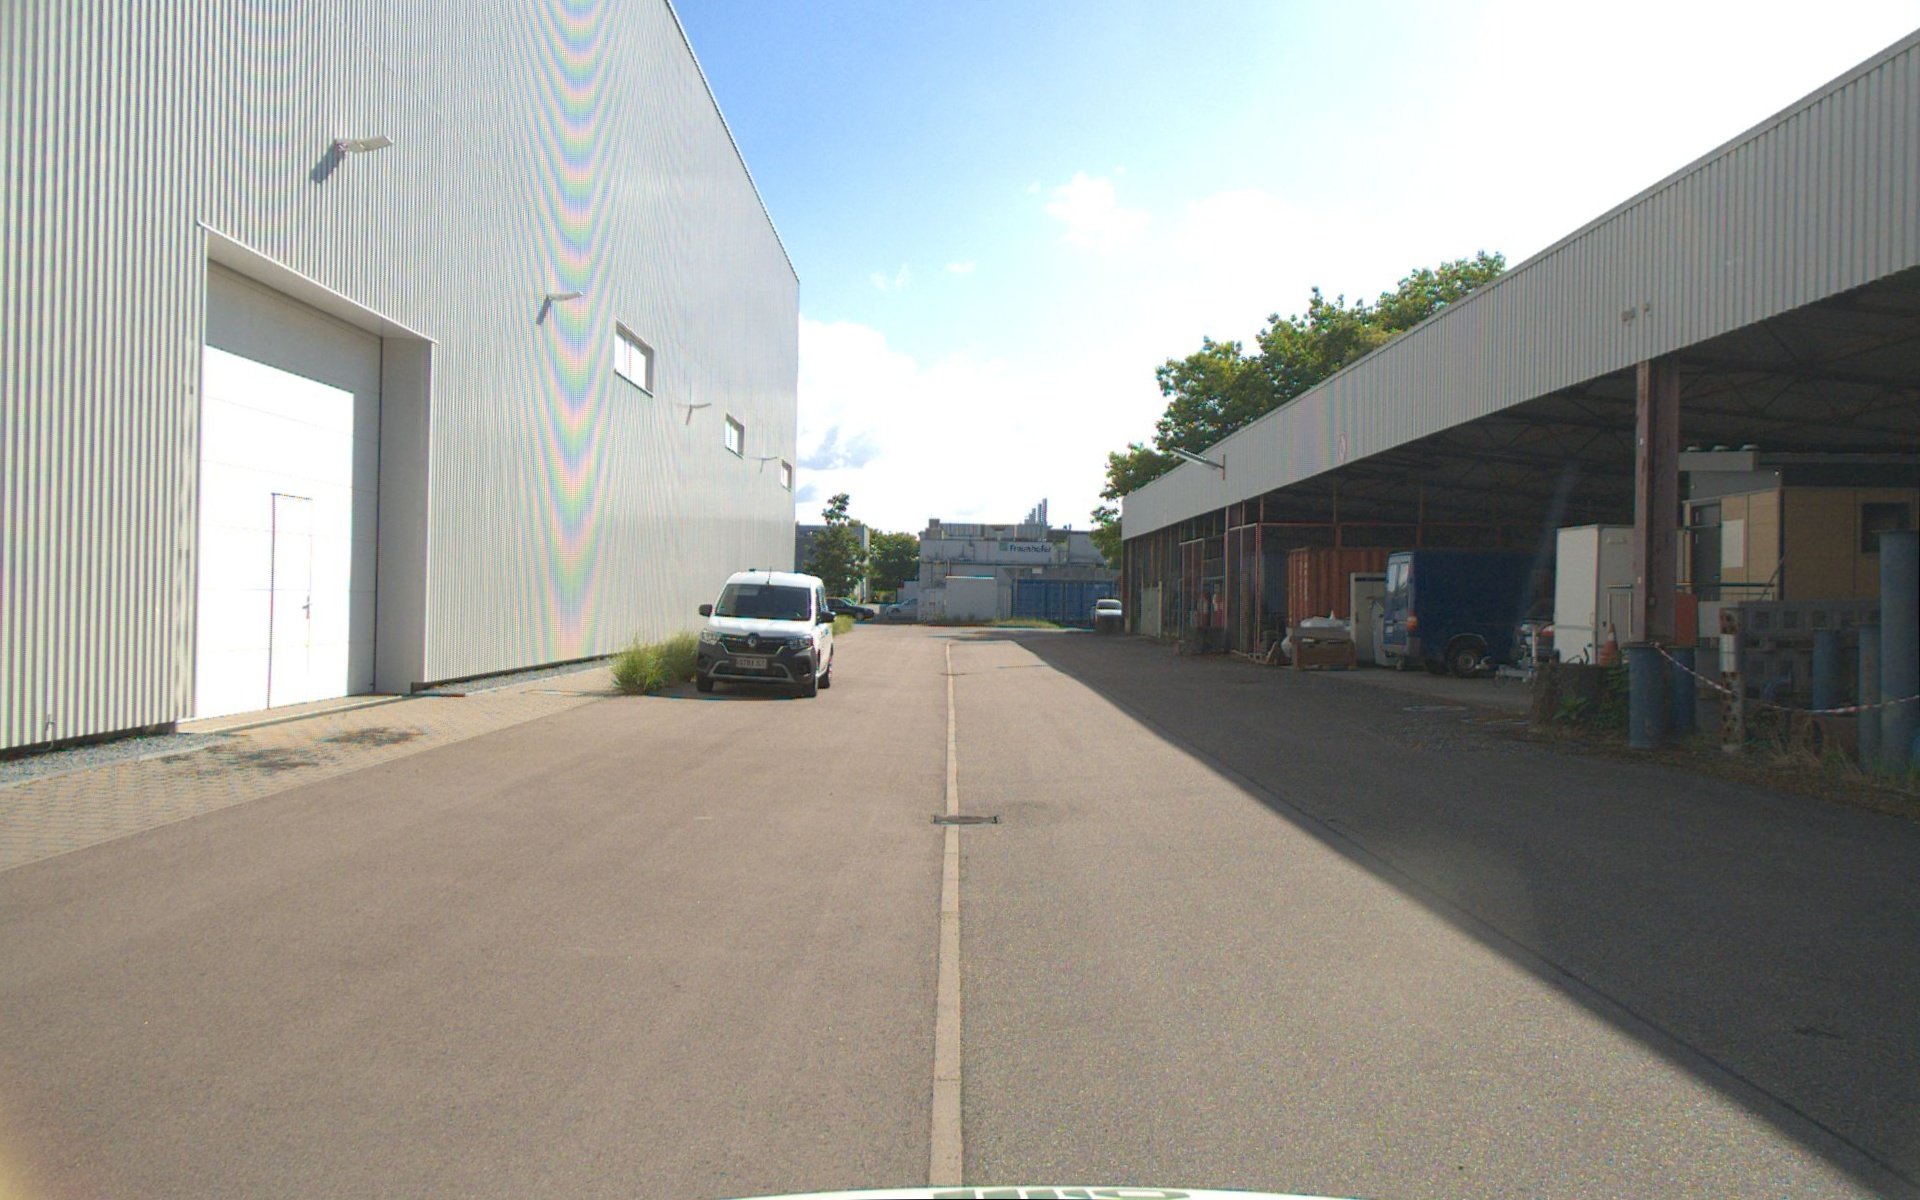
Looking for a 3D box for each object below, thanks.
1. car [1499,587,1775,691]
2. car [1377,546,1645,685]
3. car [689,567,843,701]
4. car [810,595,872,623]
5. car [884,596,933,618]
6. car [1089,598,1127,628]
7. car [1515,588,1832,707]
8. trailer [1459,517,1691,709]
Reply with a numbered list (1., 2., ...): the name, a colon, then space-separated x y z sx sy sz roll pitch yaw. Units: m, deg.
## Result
1. car: 11.363 0.662 27.913 3.955 1.551 1.684 2 -2 0
2. car: 10.257 0.308 30.999 4.342 2.350 1.915 2 -2 0
3. car: -2.887 0.465 25.526 1.781 1.818 4.405 2 0 0
4. car: -7.738 0.603 107.686 3.906 1.626 1.741 2 -2 -2
5. car: -4.202 0.577 135.605 3.906 1.626 1.847 2 -2 -2
6. car: 8.521 0.756 95.449 1.921 1.592 4.060 2 0 1
7. car: 10.483 0.705 24.479 3.955 1.551 1.684 2 -2 0
8. trailer: 8.194 0.175 22.191 2.472 2.441 1.727 1 -1 0
